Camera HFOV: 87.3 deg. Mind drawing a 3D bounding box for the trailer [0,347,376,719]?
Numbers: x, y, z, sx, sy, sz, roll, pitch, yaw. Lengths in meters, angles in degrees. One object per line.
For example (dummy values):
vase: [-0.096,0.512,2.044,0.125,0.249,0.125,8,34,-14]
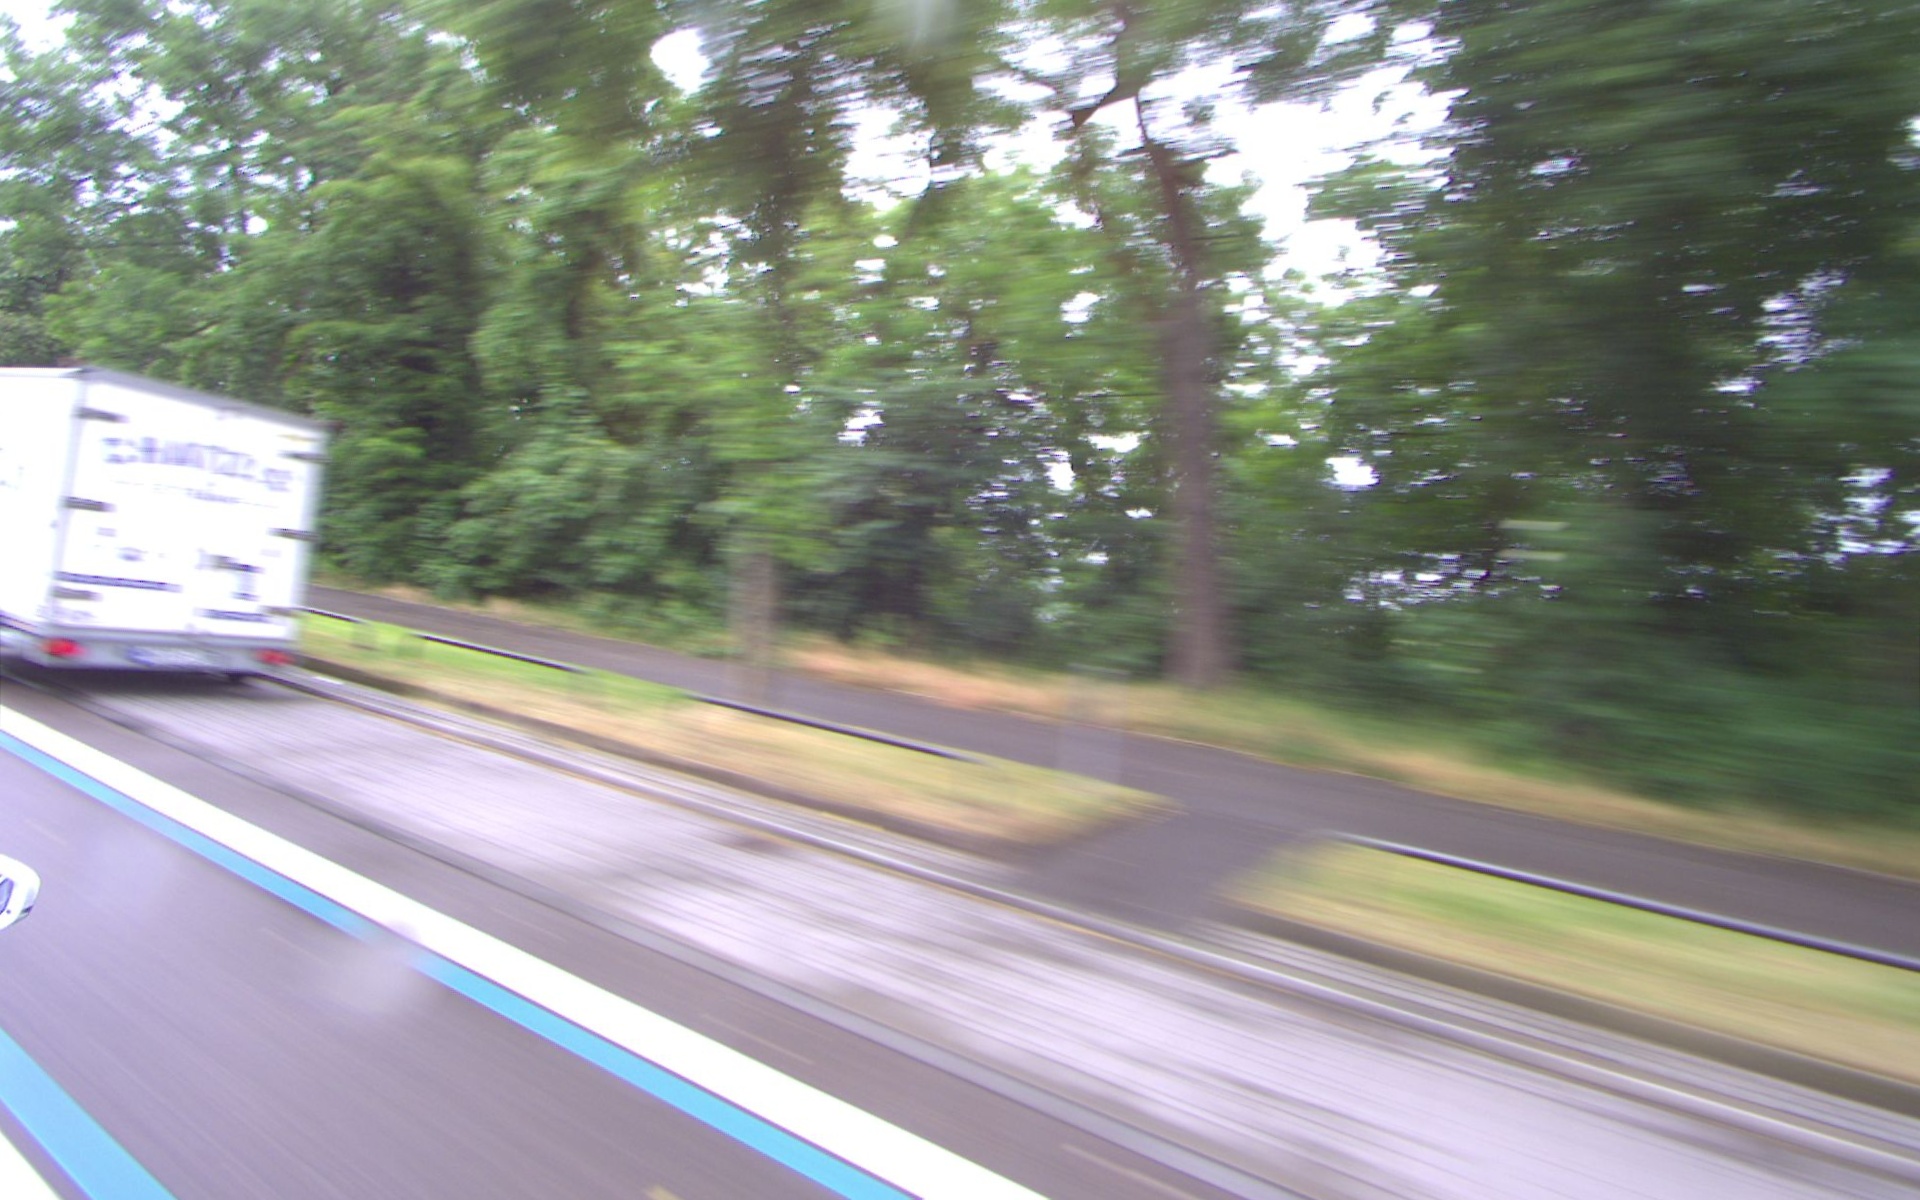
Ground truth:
trailer: [-7.614,-0.610,8.935,4.223,2.591,2.136,7,0,29]
